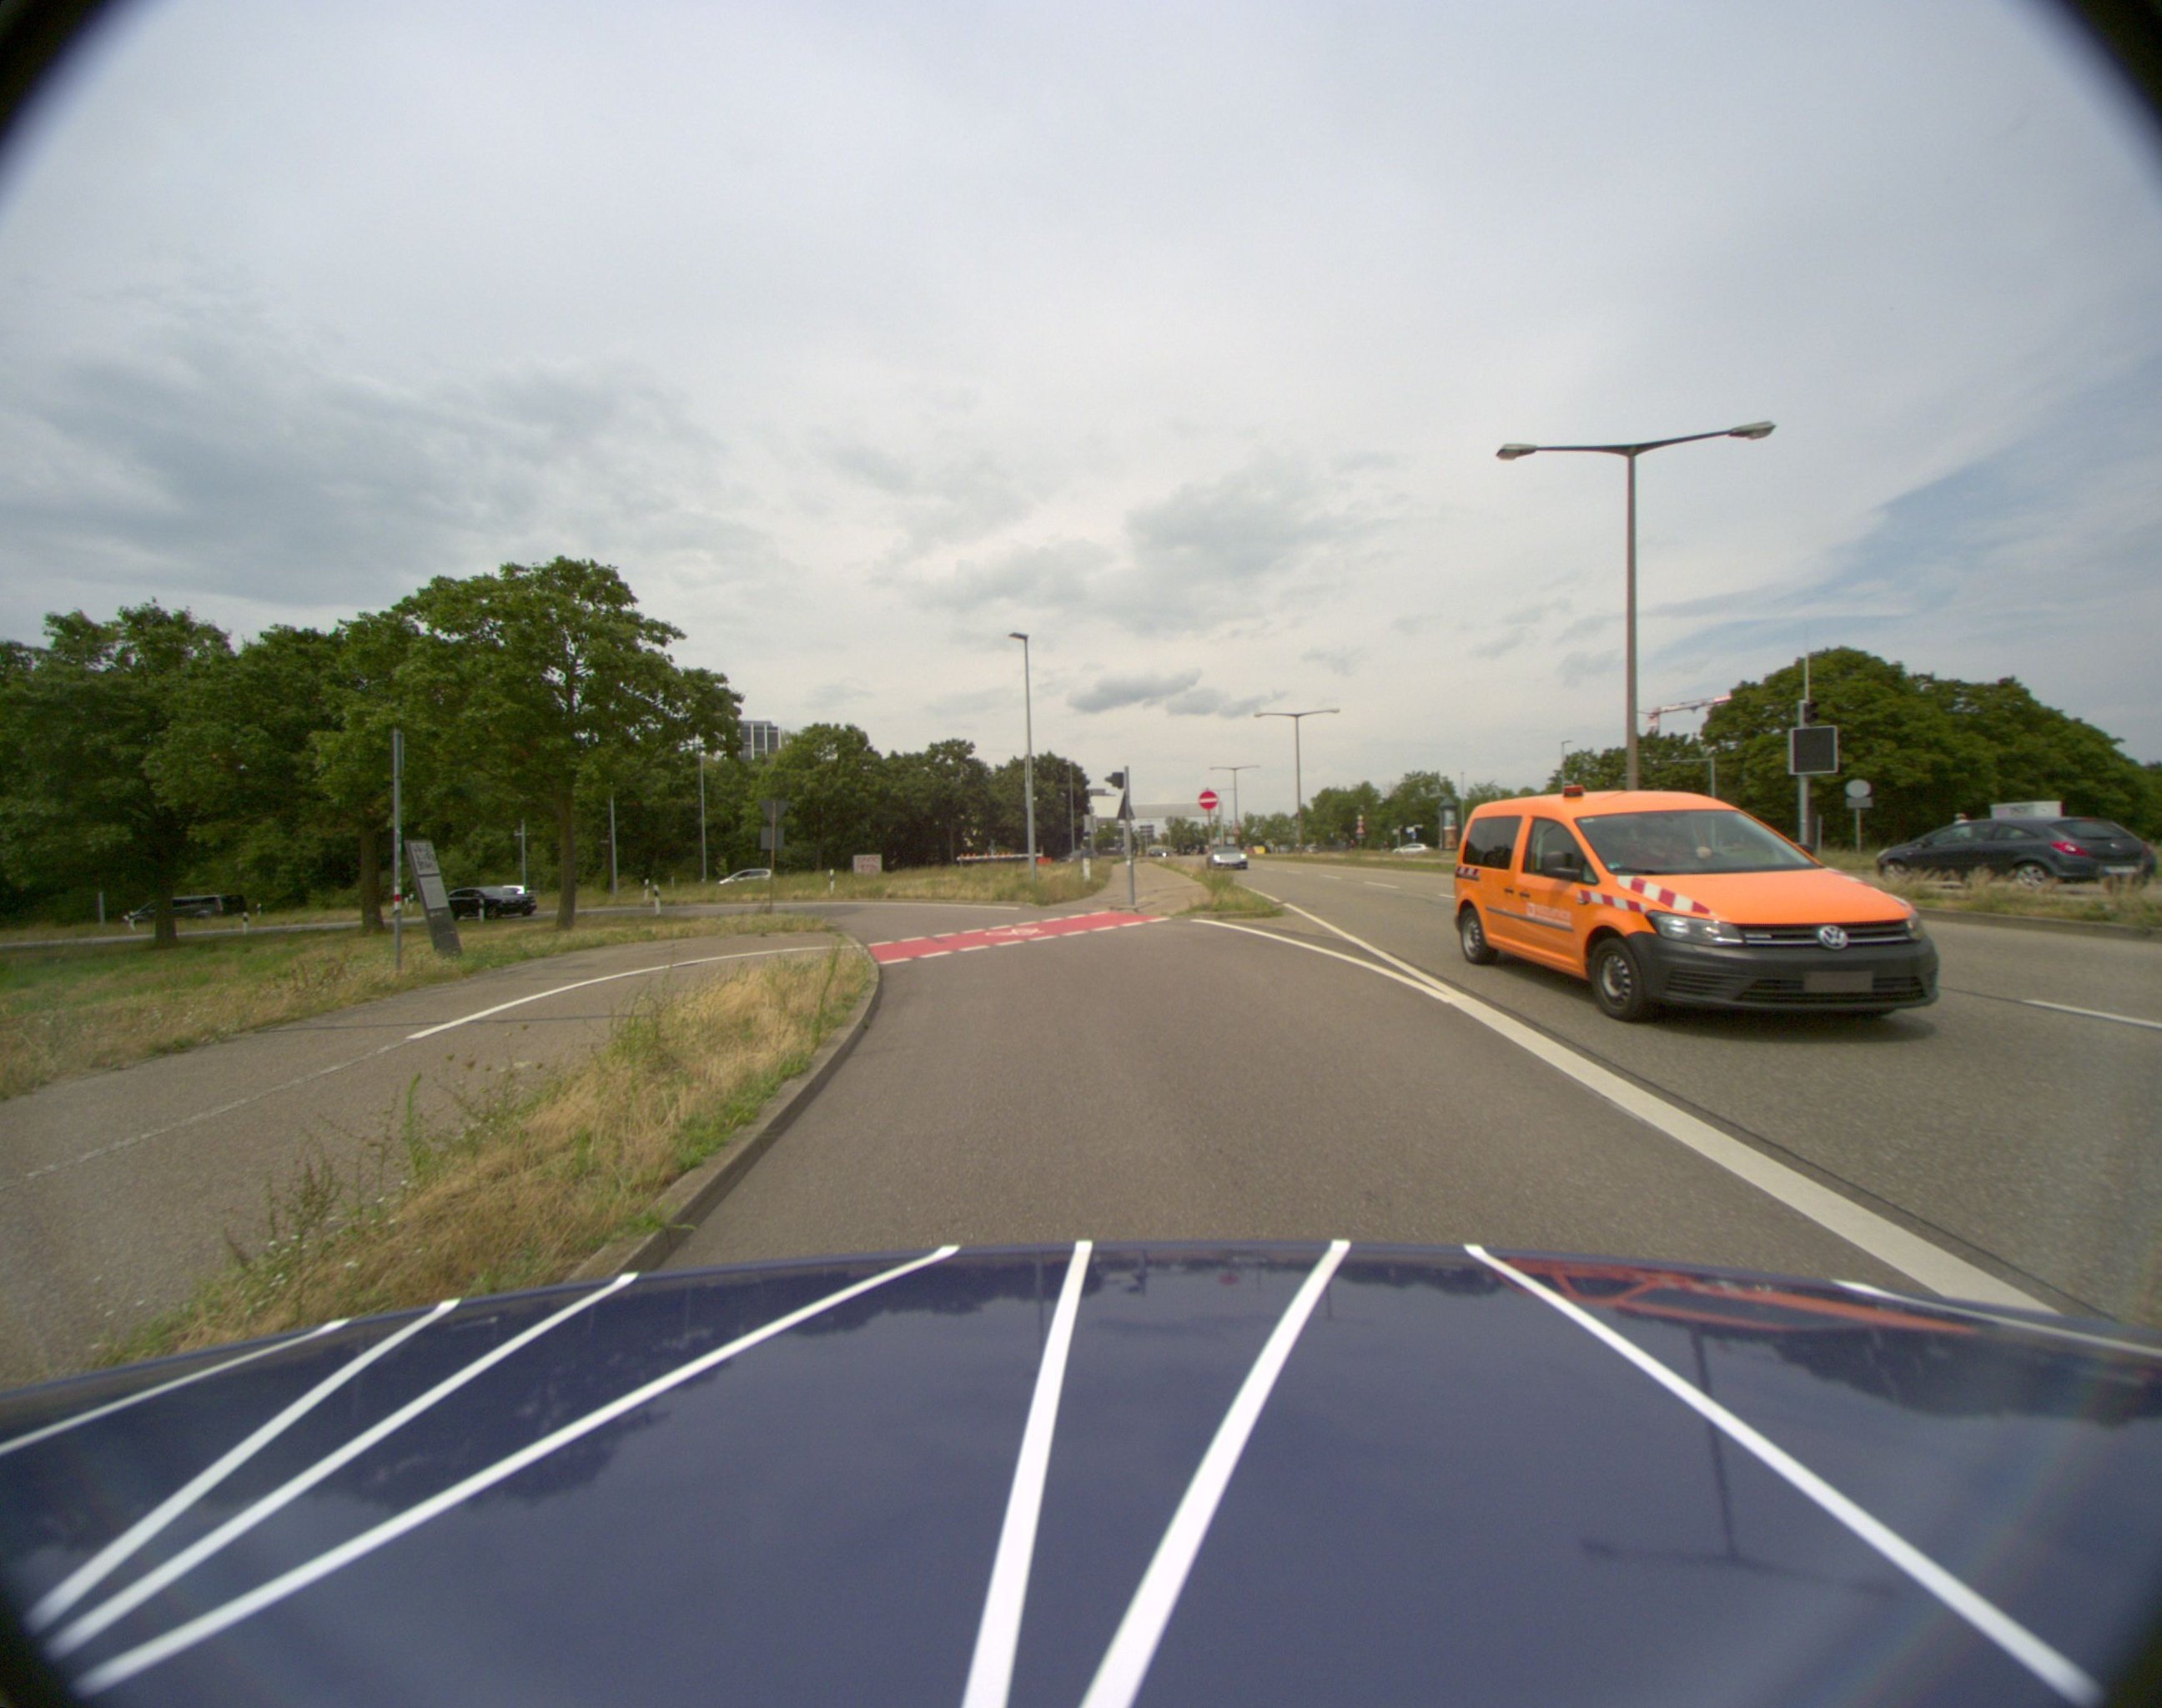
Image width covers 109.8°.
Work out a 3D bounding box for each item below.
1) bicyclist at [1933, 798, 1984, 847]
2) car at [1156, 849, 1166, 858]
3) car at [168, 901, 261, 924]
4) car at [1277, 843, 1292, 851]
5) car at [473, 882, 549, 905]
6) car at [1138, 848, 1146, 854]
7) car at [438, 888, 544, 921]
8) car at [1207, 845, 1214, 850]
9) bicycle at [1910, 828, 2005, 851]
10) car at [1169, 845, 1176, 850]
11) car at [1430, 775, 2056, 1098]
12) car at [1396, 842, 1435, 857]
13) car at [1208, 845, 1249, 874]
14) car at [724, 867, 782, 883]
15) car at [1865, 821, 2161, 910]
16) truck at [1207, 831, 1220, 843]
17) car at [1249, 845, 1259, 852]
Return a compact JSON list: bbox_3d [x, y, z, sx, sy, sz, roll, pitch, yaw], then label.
[{"bbox_3d":[29.366,-1.031,25.441,0.820,1.583,0.737,-2,1,7],"label":"bicyclist"},{"bbox_3d":[12.376,-0.064,117.648,1.557,1.230,3.470,-3,1,6],"label":"car"},{"bbox_3d":[-55.644,3.736,48.837,3.683,1.124,1.678,-3,1,-7],"label":"car"},{"bbox_3d":[31.235,-1.083,116.684,1.694,1.230,3.470,-3,1,6],"label":"car"},{"bbox_3d":[-38.126,2.623,50.892,3.682,1.265,1.678,-3,1,-6],"label":"car"},{"bbox_3d":[14.105,-0.751,175.475,1.694,1.230,3.470,-3,1,6],"label":"car"},{"bbox_3d":[-28.552,2.440,36.810,4.235,1.275,1.805,-3,1,15],"label":"car"},{"bbox_3d":[35.505,-1.713,208.843,1.694,1.230,3.470,-3,1,6],"label":"car"},{"bbox_3d":[29.379,-0.482,25.530,0.820,0.730,2.222,-2,1,7],"label":"bicycle"},{"bbox_3d":[24.708,-1.876,205.357,1.694,1.230,3.470,-3,1,6],"label":"car"},{"bbox_3d":[4.867,0.474,6.666,1.892,1.825,4.431,-3,1,6],"label":"car"},{"bbox_3d":[38.087,-0.481,86.494,1.700,1.456,3.631,-4,1,-43],"label":"car"},{"bbox_3d":[8.011,0.260,41.540,1.695,1.403,3.684,-3,1,4],"label":"car"},{"bbox_3d":[-23.431,1.493,54.412,3.686,1.124,1.677,0,0,-17],"label":"car"},{"bbox_3d":[18.362,0.172,15.205,1.695,1.485,3.685,-3,1,5],"label":"car"},{"bbox_3d":[24.215,-3.145,139.304,1.998,2.002,4.001,-2,1,6],"label":"truck"},{"bbox_3d":[33.228,-1.065,145.738,1.468,1.230,3.470,-3,1,6],"label":"car"}]
